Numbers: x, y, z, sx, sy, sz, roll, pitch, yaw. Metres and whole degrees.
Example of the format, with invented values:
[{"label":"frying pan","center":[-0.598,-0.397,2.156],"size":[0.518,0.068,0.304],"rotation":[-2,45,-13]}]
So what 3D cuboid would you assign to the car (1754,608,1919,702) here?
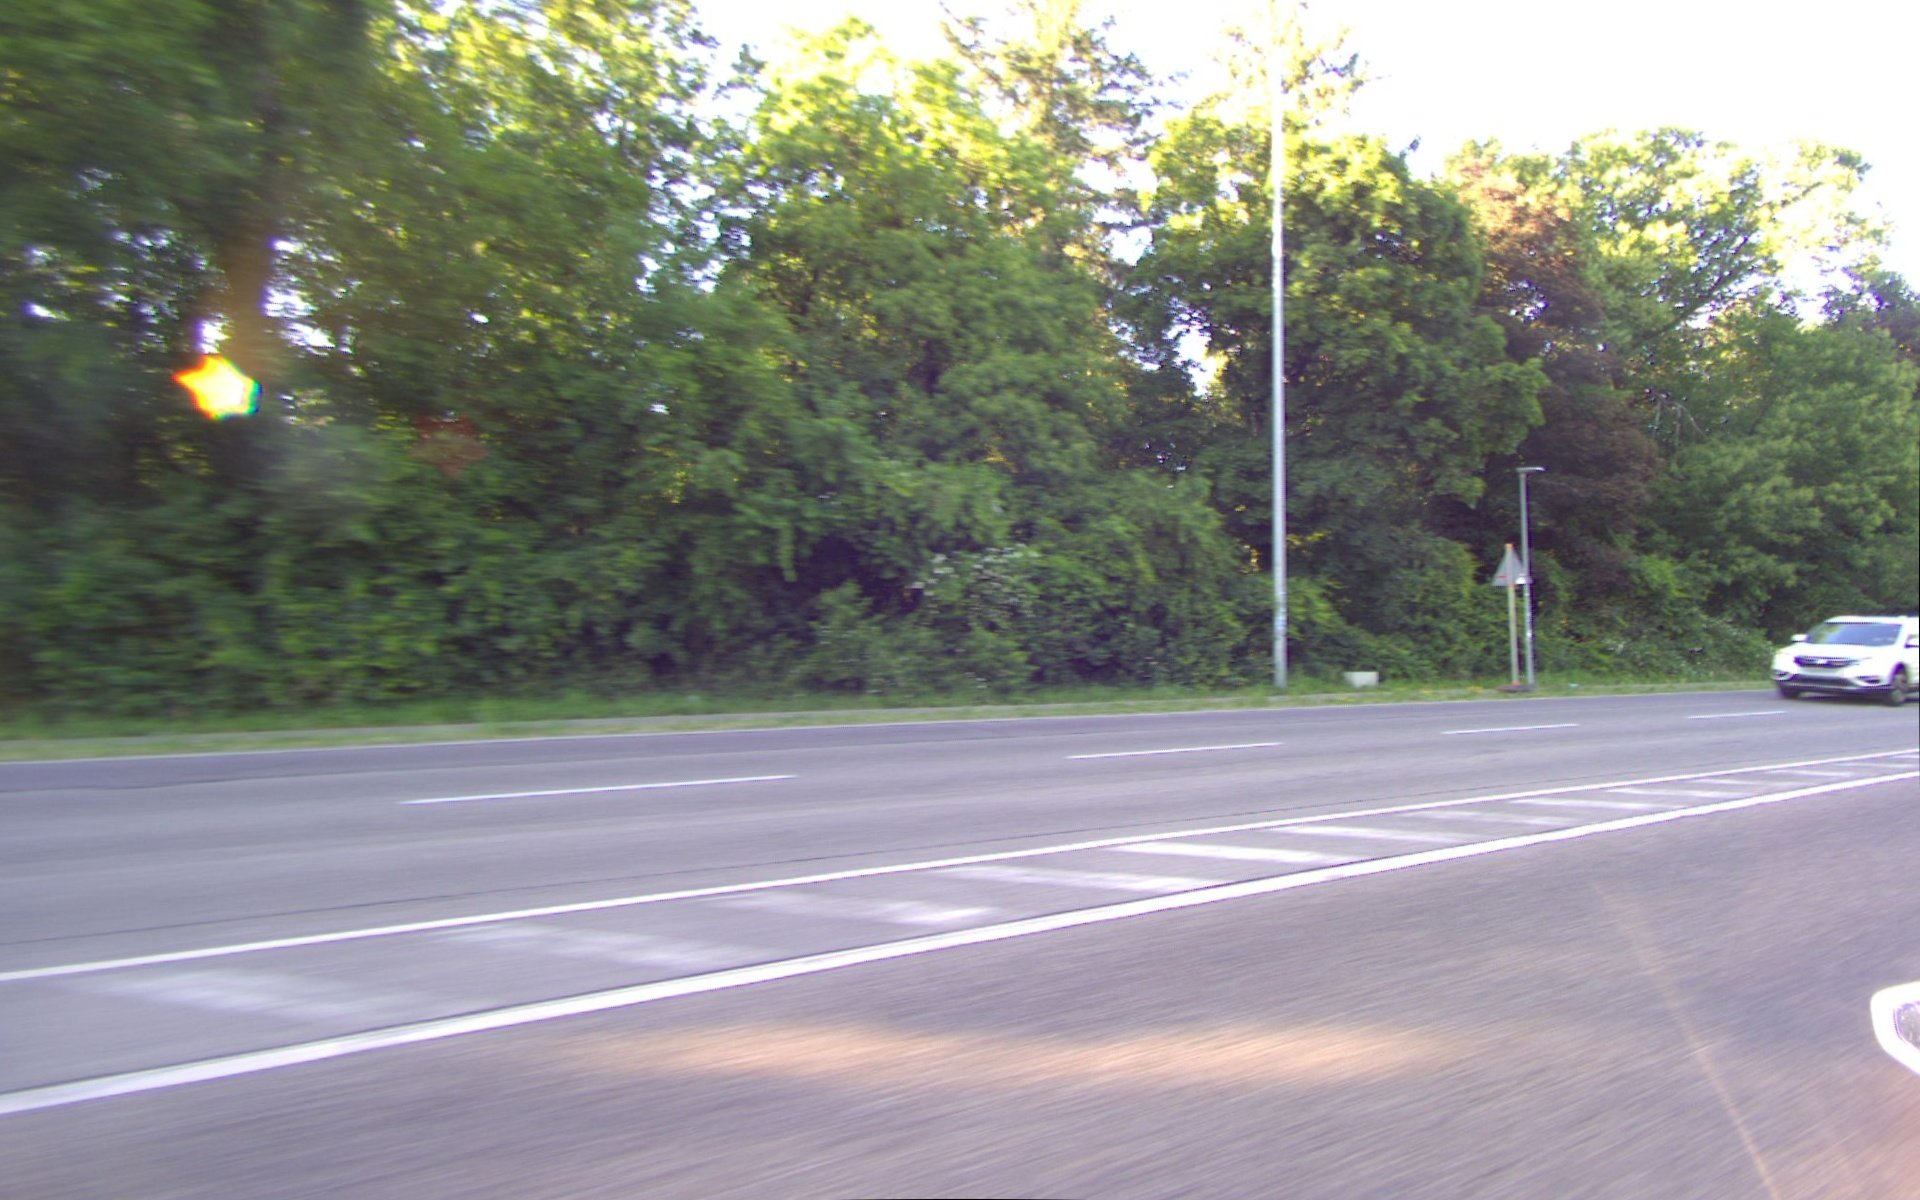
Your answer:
[{"label":"car","center":[17.998,1.035,20.004],"size":[4.679,1.686,1.899],"rotation":[1,-1,-31]}]
